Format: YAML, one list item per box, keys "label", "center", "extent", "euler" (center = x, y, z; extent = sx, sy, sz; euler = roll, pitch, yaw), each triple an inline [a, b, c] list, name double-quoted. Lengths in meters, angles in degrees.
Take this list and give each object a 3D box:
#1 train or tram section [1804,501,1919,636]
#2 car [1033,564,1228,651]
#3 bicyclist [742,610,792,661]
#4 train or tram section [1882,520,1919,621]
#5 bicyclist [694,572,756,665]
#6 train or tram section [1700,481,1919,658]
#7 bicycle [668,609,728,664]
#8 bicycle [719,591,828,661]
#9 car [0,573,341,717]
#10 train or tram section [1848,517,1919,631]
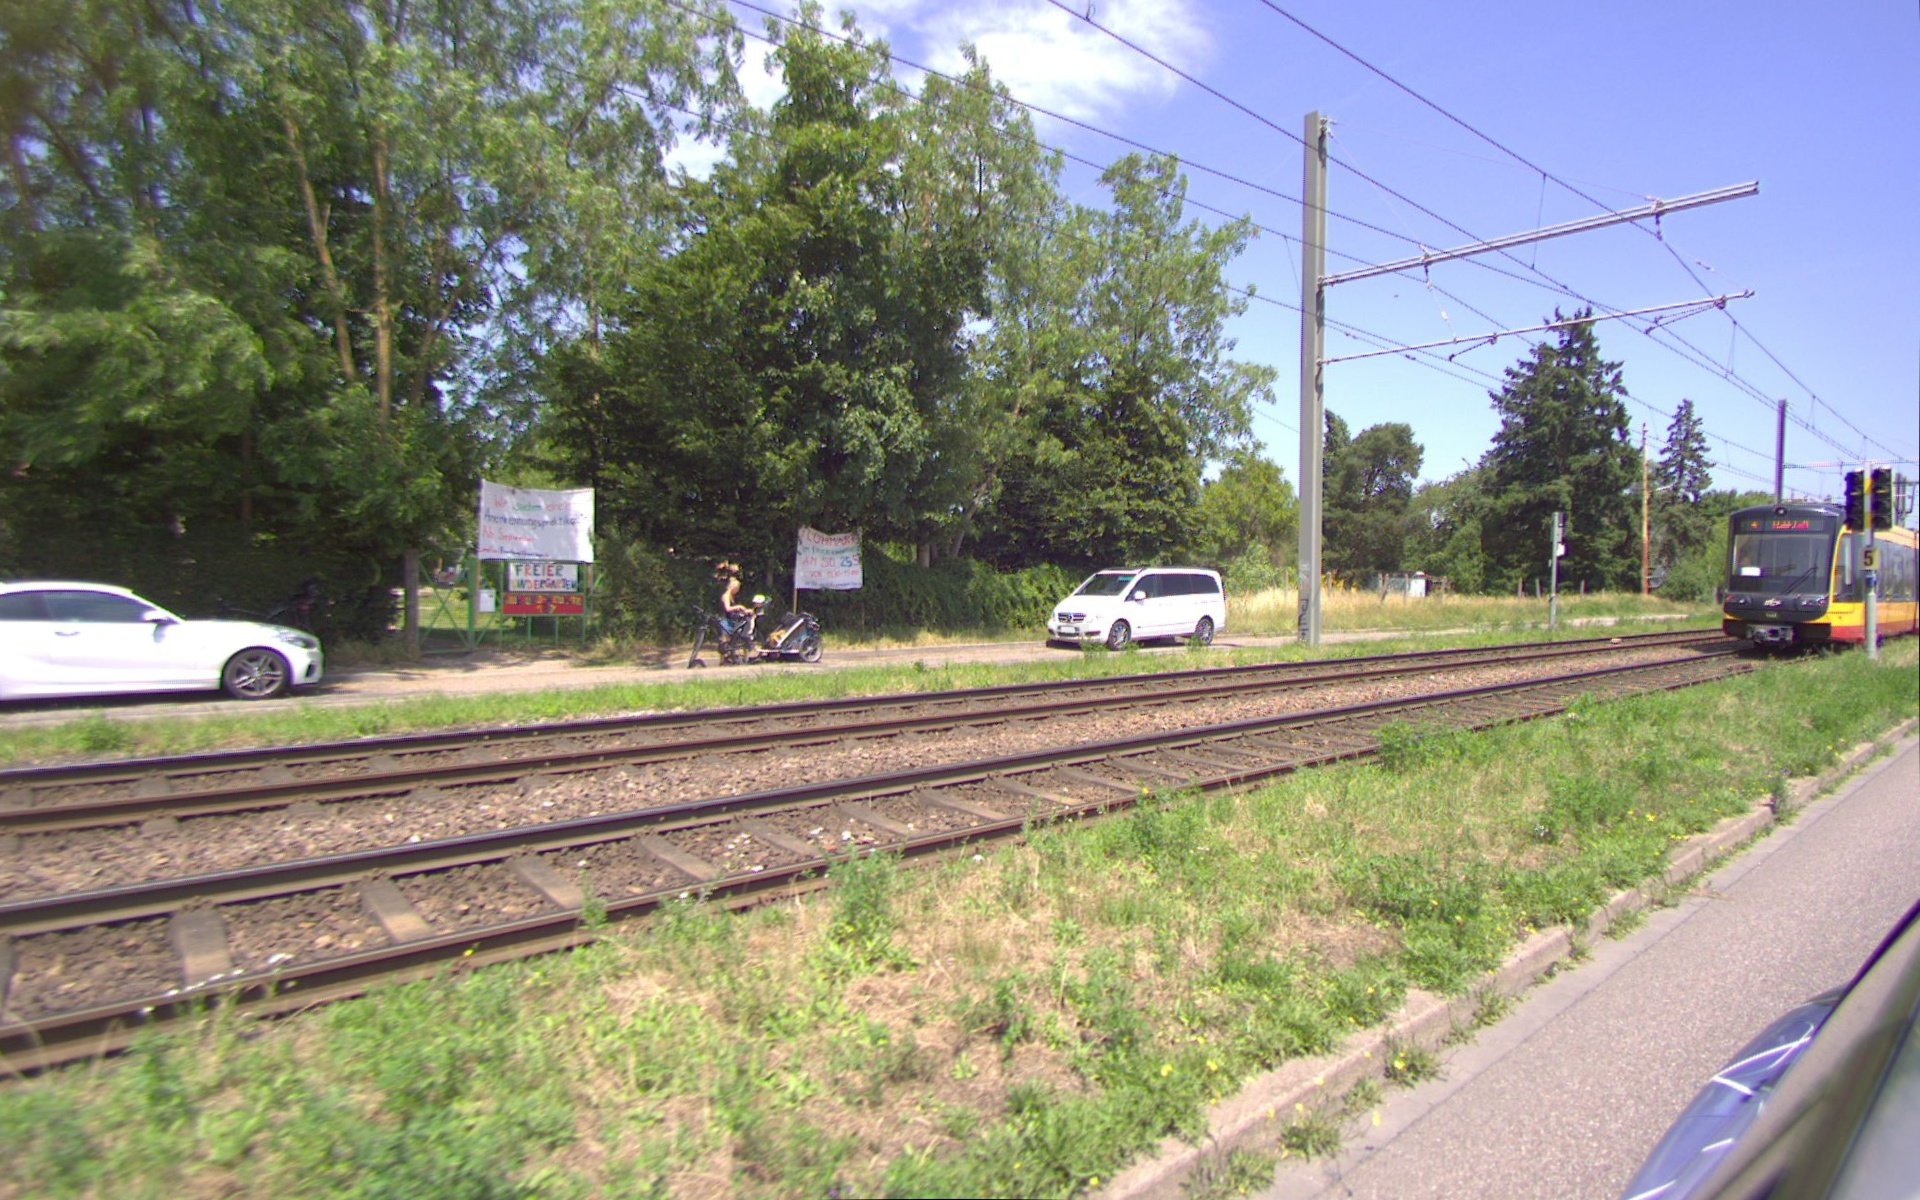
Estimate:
- label: "train or tram section"
  center: [28.951, -1.011, 31.768]
  extent: [6.613, 3.812, 2.707]
  euler: [-1, 3, -41]
- label: "car"
  center: [4.228, 0.083, 24.557]
  extent: [4.928, 1.898, 1.997]
  euler: [-2, 3, -41]
- label: "bicyclist"
  center: [-3.599, 0.644, 18.886]
  extent: [0.522, 0.886, 0.750]
  euler: [2, 3, 44]
- label: "train or tram section"
  center: [40.761, -1.227, 41.928]
  extent: [11.359, 3.812, 2.434]
  euler: [-2, 3, -41]
- label: "bicyclist"
  center: [-4.201, 0.310, 18.104]
  extent: [0.609, 1.608, 0.911]
  euler: [2, 2, 44]
- label: "train or tram section"
  center: [22.243, -0.797, 26.025]
  extent: [10.992, 3.734, 2.771]
  euler: [-2, 3, -41]
- label: "bicycle"
  center: [-4.593, 0.621, 17.726]
  extent: [0.784, 0.886, 0.750]
  euler: [-1, 3, -41]
- label: "bicycle"
  center: [-3.433, 0.447, 18.673]
  extent: [1.630, 1.160, 1.147]
  euler: [-1, 3, -41]
- label: "car"
  center: [-10.062, 0.446, 11.874]
  extent: [4.549, 1.467, 1.800]
  euler: [-2, 3, -41]
- label: "train or tram section"
  center: [33.988, -0.944, 36.063]
  extent: [6.613, 3.759, 2.566]
  euler: [-1, 3, -41]
